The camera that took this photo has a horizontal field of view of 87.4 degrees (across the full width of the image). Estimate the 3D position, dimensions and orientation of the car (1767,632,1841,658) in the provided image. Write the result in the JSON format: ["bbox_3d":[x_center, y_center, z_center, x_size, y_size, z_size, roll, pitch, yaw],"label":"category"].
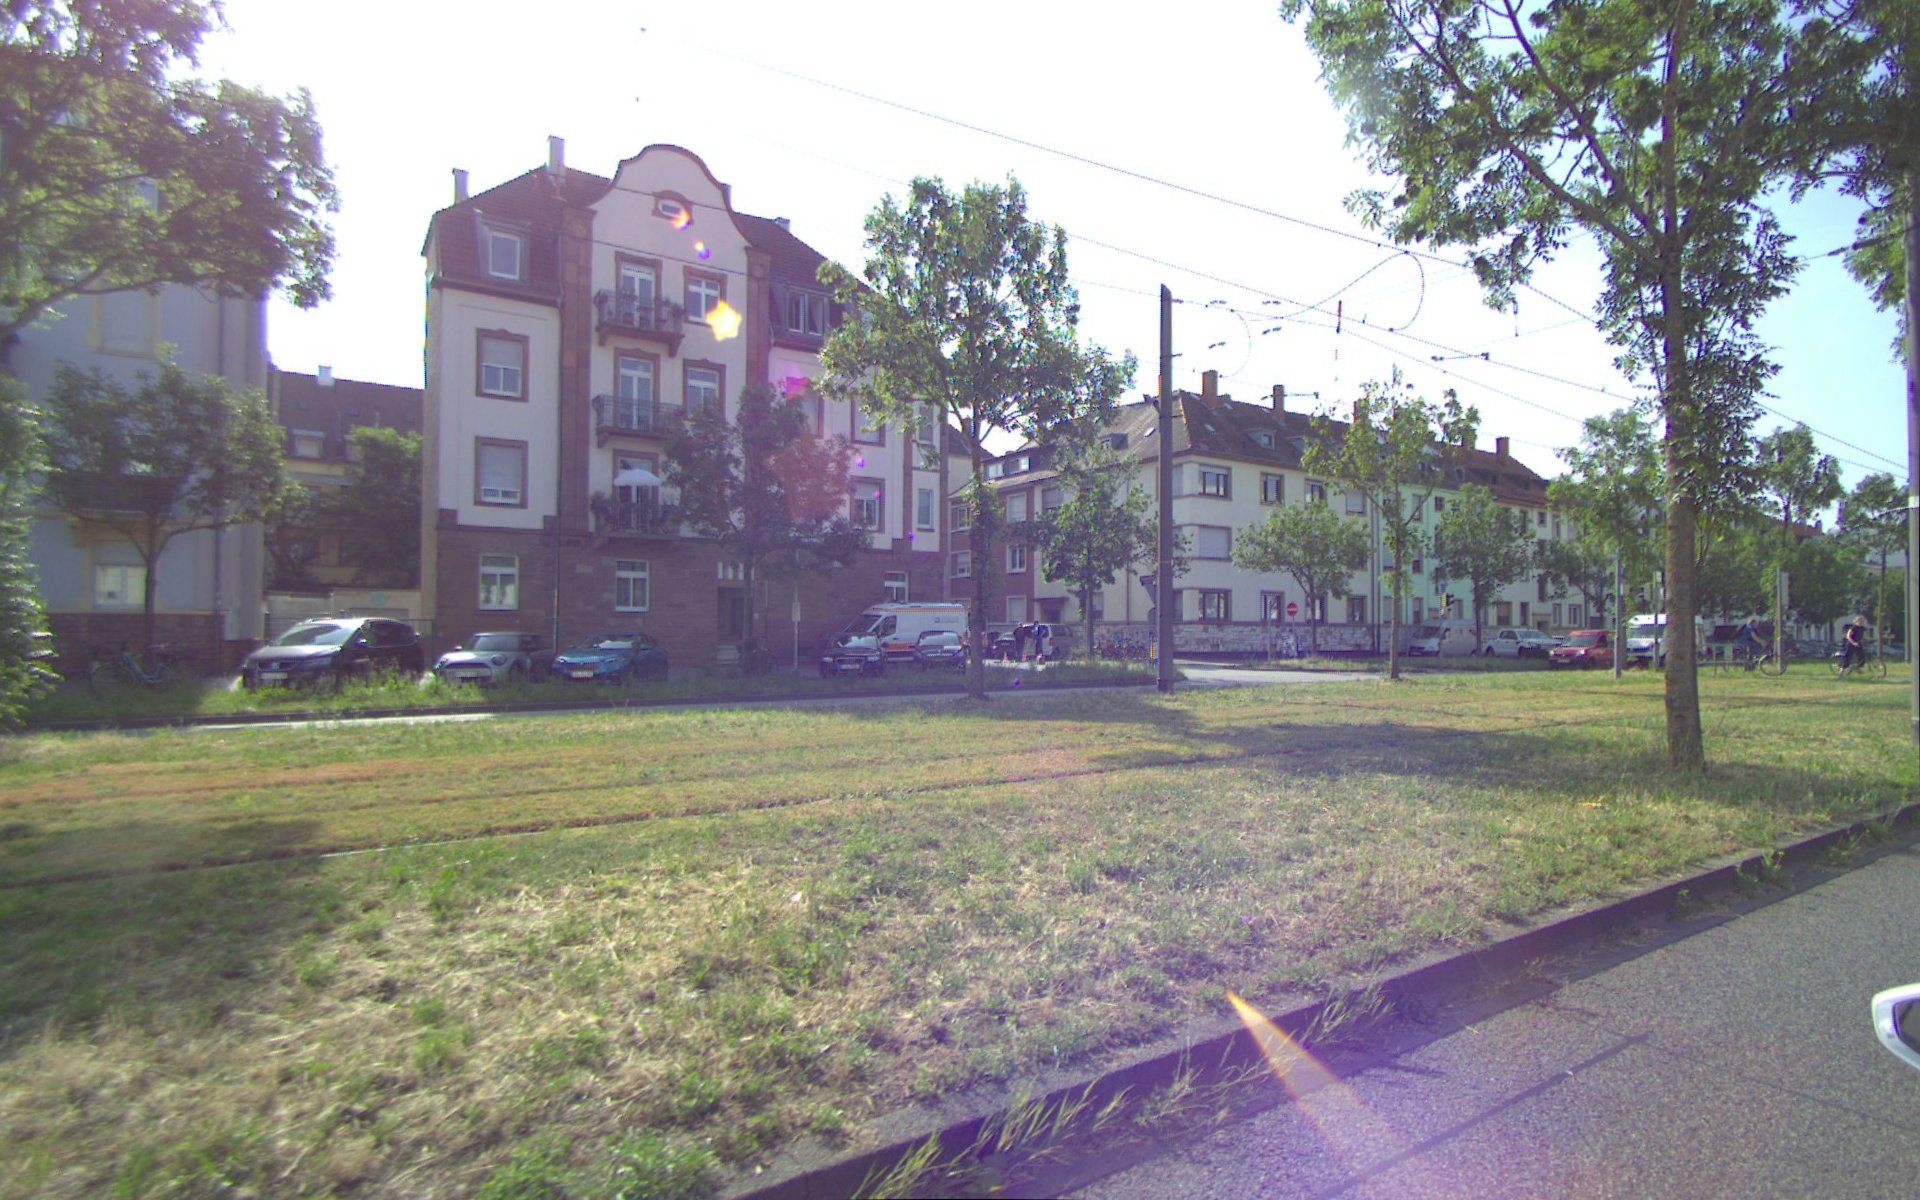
[{"bbox_3d":[59.351,3.138,70.720,1.437,1.550,3.995,2,0,-8],"label":"car"}]

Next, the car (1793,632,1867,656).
[{"bbox_3d":[61.961,3.114,71.636,1.437,1.550,3.995,2,0,-8],"label":"car"}]

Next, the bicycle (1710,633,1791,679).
[{"bbox_3d":[25.798,1.811,32.801,2.042,1.341,0.780,2,0,40],"label":"bicycle"}]

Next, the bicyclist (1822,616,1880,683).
[{"bbox_3d":[27.352,1.508,30.843,0.678,1.960,1.140,2,0,-32],"label":"bicyclist"}]

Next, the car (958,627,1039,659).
[{"bbox_3d":[2.194,2.420,56.763,4.356,1.704,1.976,2,0,-41],"label":"car"}]

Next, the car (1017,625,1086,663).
[{"bbox_3d":[4.804,2.262,52.310,1.980,1.790,4.325,2,0,28],"label":"car"}]

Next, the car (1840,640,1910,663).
[{"bbox_3d":[73.213,4.116,80.424,1.625,1.617,3.995,2,0,-8],"label":"car"}]

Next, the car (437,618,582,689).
[{"bbox_3d":[-10.563,1.207,23.874,1.546,1.436,4.000,2,0,1],"label":"car"}]

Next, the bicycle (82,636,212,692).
[{"bbox_3d":[-16.520,1.287,20.463,0.460,1.063,1.992,2,0,42],"label":"bicycle"}]

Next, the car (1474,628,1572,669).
[{"bbox_3d":[28.340,2.420,50.793,1.960,1.761,5.327,2,0,0],"label":"car"}]

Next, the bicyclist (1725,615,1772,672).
[{"bbox_3d":[25.765,1.414,32.831,1.133,1.785,0.683,2,0,40],"label":"bicyclist"}]

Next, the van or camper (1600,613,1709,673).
[{"bbox_3d":[32.458,2.003,46.860,5.969,2.565,2.189,2,0,-35],"label":"van or camper"}]

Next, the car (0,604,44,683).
[{"bbox_3d":[-18.989,0.787,17.417,1.935,1.438,4.478,2,0,4],"label":"car"}]

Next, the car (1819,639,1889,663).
[{"bbox_3d":[68.147,3.867,76.639,1.437,1.550,3.995,2,0,-8],"label":"car"}]

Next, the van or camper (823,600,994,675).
[{"bbox_3d":[-1.869,1.417,38.018,6.293,2.601,2.026,2,0,-35],"label":"van or camper"}]

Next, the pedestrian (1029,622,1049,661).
[{"bbox_3d":[3.496,1.835,44.514,0.612,1.688,0.579,2,0,-30],"label":"pedestrian"}]

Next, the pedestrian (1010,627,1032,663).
[{"bbox_3d":[2.673,1.964,44.152,0.717,1.543,0.634,2,0,-30],"label":"pedestrian"}]

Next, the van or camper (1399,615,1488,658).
[{"bbox_3d":[28.660,2.172,59.494,5.764,2.359,1.982,2,0,-32],"label":"van or camper"}]

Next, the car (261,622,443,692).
[{"bbox_3d":[-13.302,1.194,22.266,1.606,1.286,4.000,2,0,-1],"label":"car"}]

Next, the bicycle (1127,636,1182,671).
[{"bbox_3d":[9.286,2.552,48.024,1.091,1.481,2.660,2,0,-30],"label":"bicycle"}]

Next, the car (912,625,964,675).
[{"bbox_3d":[-0.624,1.482,30.705,1.467,1.344,3.165,2,0,0],"label":"car"}]

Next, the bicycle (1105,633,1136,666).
[{"bbox_3d":[7.520,2.287,47.321,0.961,1.378,3.059,2,0,0],"label":"bicycle"}]

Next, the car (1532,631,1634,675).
[{"bbox_3d":[26.828,2.258,43.207,4.247,1.716,1.955,2,0,-30],"label":"car"}]

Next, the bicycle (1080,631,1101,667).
[{"bbox_3d":[6.115,2.265,46.972,0.912,1.481,3.222,2,0,8],"label":"bicycle"}]

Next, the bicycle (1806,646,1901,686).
[{"bbox_3d":[27.352,2.002,30.779,0.660,1.056,2.055,2,0,-31],"label":"bicycle"}]

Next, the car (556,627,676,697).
[{"bbox_3d":[-8.350,1.458,24.739,1.546,1.436,4.000,2,0,0],"label":"car"}]

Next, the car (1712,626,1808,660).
[{"bbox_3d":[54.329,2.865,68.352,1.842,2.040,5.228,2,0,-8],"label":"car"}]

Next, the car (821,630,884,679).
[{"bbox_3d":[-2.980,1.506,28.386,1.468,1.176,3.164,2,0,-1],"label":"car"}]
